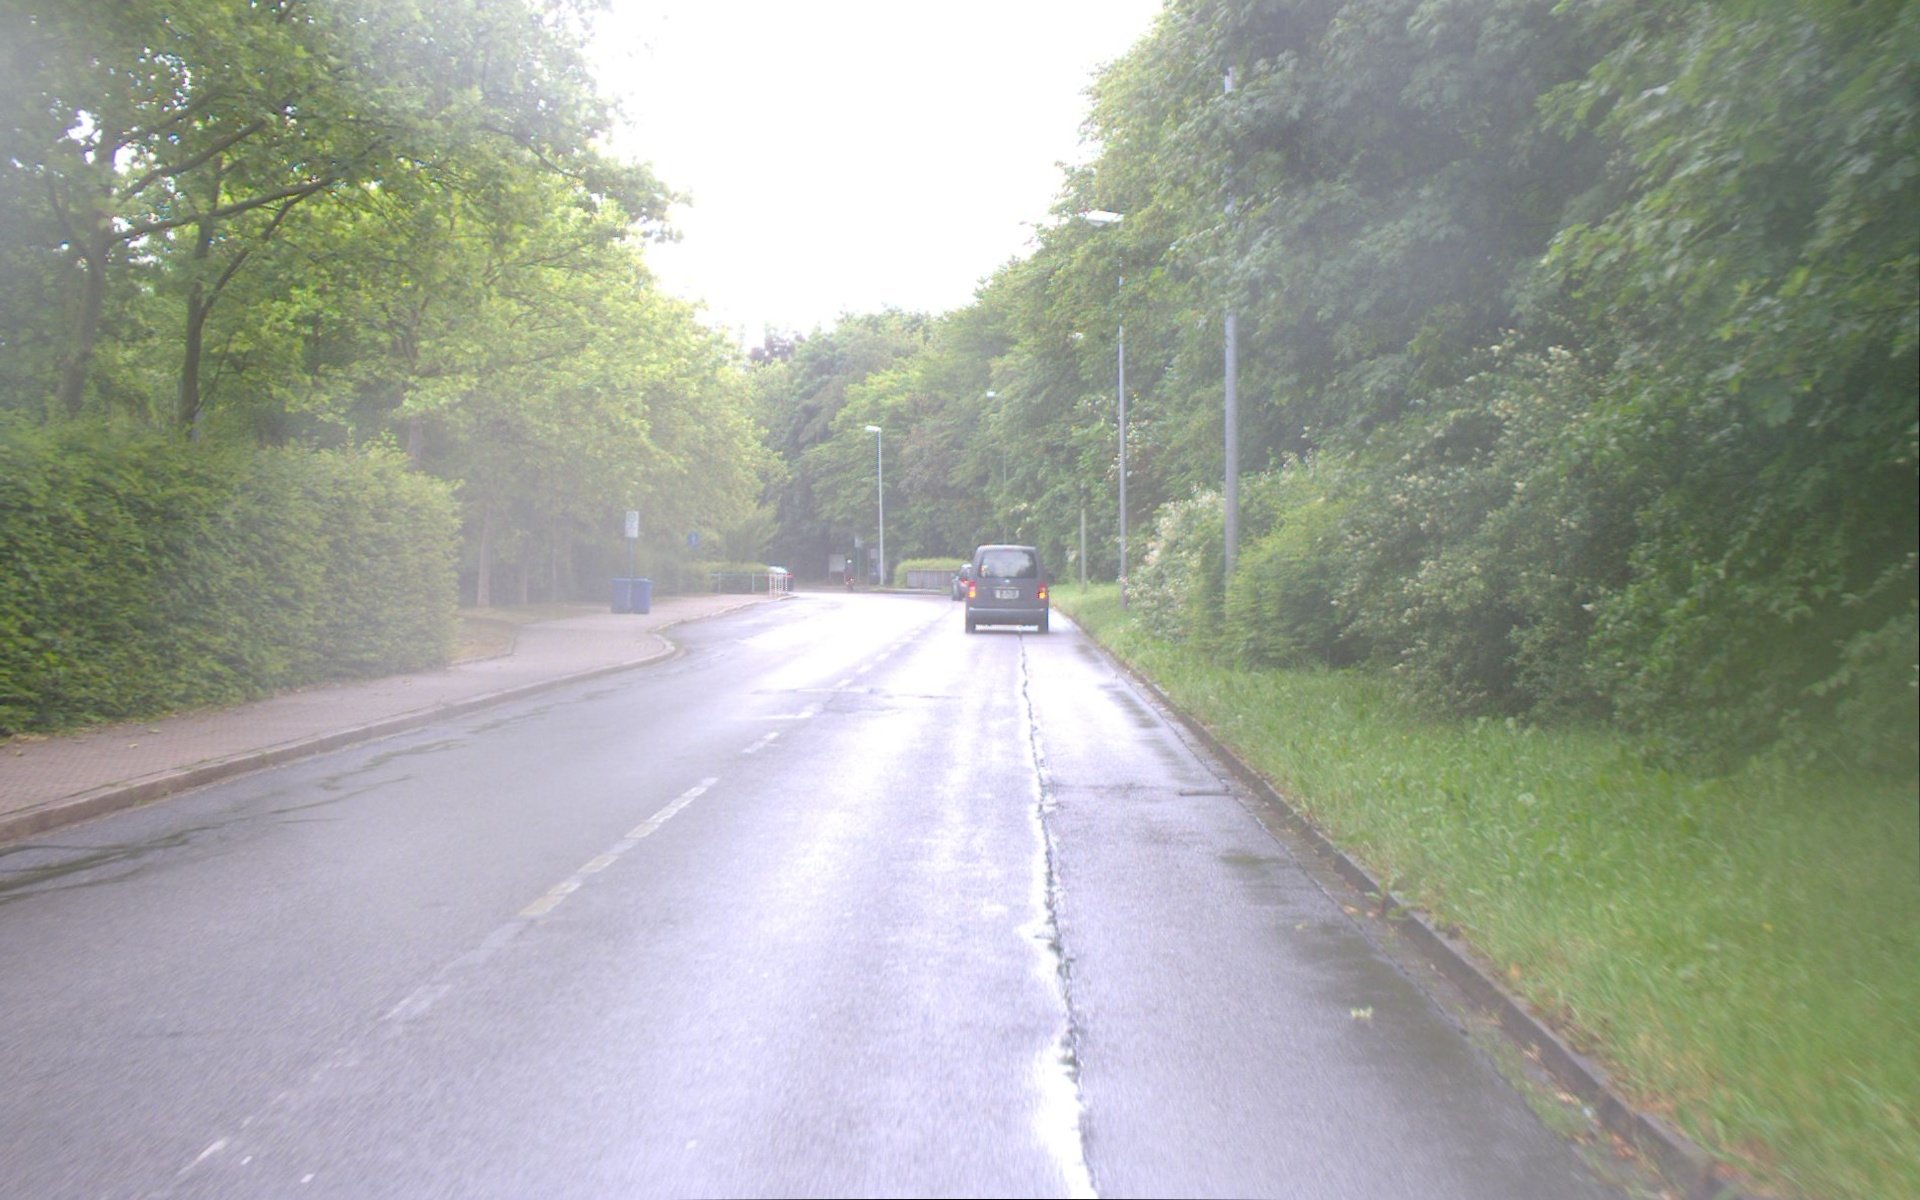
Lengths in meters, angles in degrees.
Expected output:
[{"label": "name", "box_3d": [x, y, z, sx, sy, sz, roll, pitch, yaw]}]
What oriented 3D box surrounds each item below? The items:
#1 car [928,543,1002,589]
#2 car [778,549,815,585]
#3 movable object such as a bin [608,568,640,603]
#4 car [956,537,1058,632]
[{"label": "car", "box_3d": [0.174, -1.365, 136.579, 1.993, 1.766, 4.001, -1, 1, -14]}, {"label": "car", "box_3d": [-9.565, -1.945, 201.045, 1.993, 2.007, 4.000, 2, 1, -1]}, {"label": "movable object such as a bin", "box_3d": [-10.265, -0.437, 105.044, 0.666, 1.023, 0.835, -3, 1, -30]}, {"label": "car", "box_3d": [0.958, -0.353, 72.292, 1.993, 1.787, 4.000, 3, 2, 0]}]
